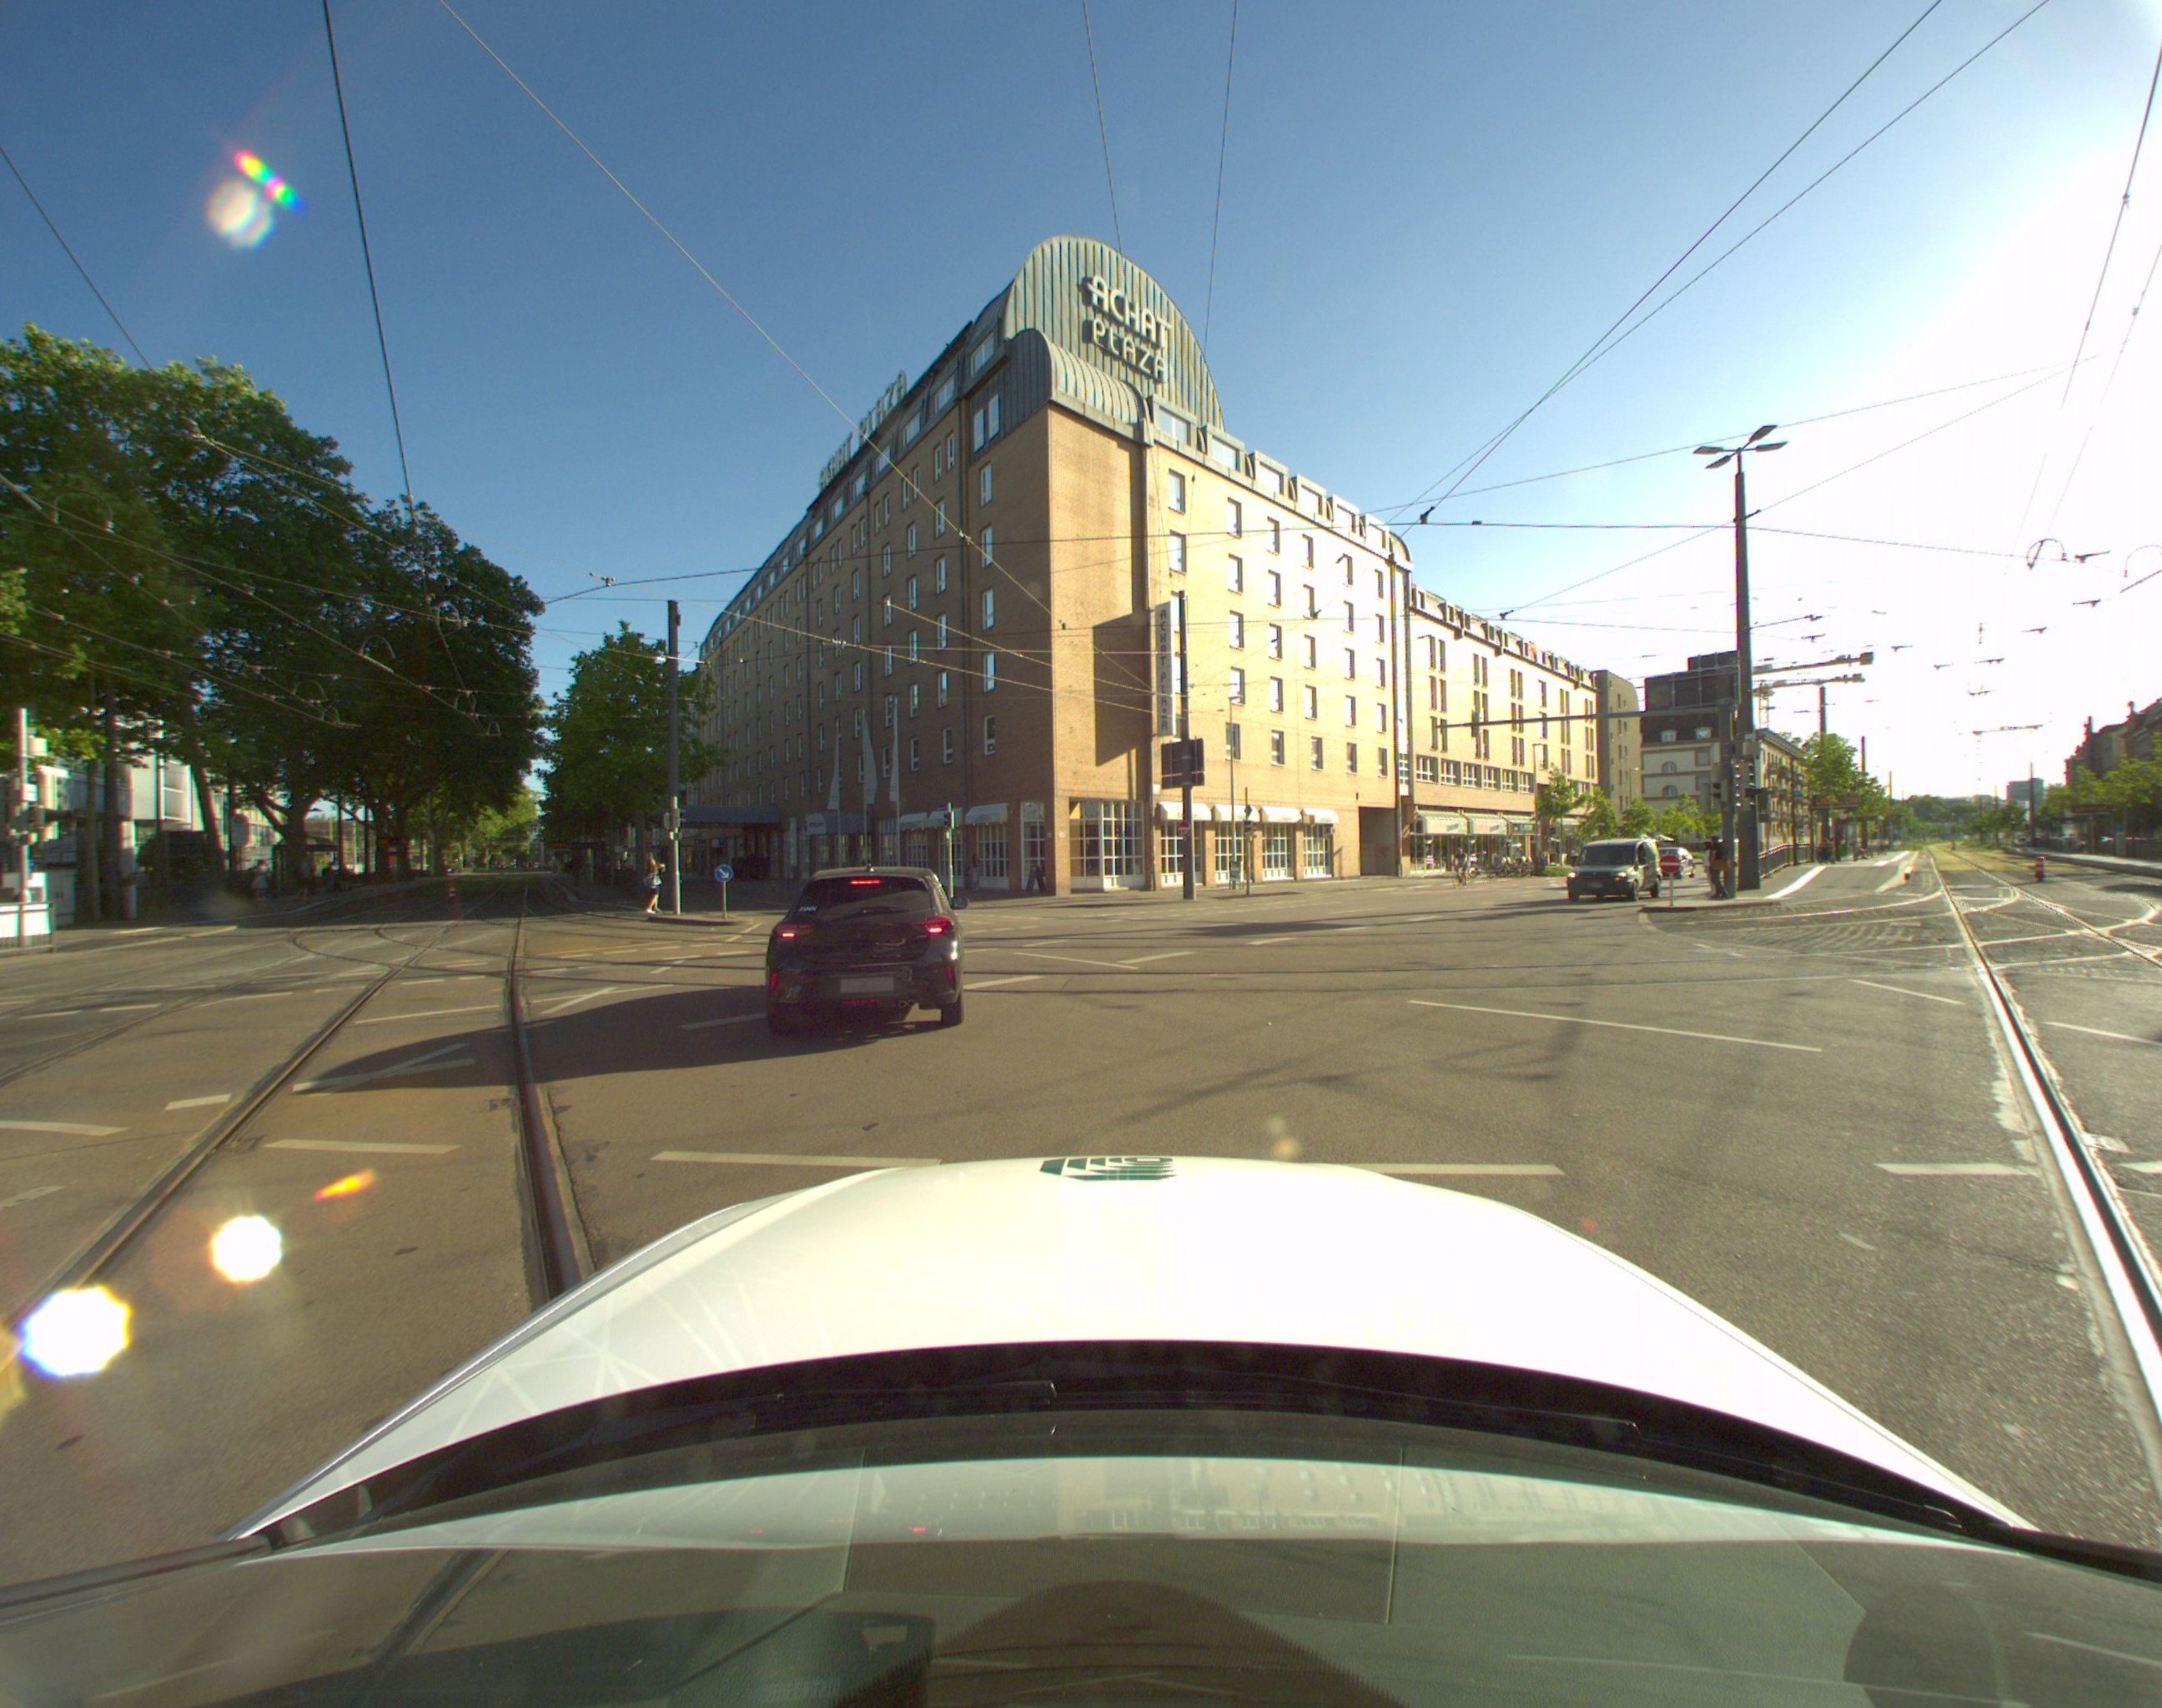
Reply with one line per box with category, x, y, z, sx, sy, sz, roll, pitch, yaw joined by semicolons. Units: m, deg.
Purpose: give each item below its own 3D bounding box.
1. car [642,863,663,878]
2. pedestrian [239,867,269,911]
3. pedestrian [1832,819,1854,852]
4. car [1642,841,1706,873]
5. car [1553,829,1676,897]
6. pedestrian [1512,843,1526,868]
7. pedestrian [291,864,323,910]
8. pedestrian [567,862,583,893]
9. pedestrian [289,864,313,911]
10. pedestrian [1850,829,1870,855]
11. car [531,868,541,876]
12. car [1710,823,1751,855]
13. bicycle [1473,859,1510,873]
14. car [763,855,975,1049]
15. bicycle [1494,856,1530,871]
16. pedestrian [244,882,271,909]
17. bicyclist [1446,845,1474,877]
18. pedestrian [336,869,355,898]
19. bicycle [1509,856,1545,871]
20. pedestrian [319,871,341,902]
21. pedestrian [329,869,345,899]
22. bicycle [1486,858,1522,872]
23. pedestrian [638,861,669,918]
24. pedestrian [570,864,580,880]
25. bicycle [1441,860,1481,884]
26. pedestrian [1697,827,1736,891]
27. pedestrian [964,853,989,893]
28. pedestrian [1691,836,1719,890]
car;-48.173;1.806;91.590;1.684;1.652;3.651;-1;0;-34
pedestrian;-34.589;1.449;34.062;0.592;1.800;0.740;-1;0;-19
pedestrian;45.022;-1.082;48.100;0.852;1.886;0.742;-1;1;37
car;30.062;0.140;41.240;4.323;1.448;1.822;-1;-2;-44
car;15.863;0.249;24.162;4.128;1.836;1.823;-1;-2;-39
pedestrian;32.489;0.107;60.417;0.568;1.764;0.710;-1;-1;-40
pedestrian;-31.511;1.327;33.159;0.589;1.829;0.744;-1;0;-3
pedestrian;-27.514;1.270;44.291;0.608;1.680;0.481;-3;1;-35
pedestrian;-31.063;1.311;32.439;0.639;1.829;0.736;-1;0;-39
pedestrian;51.636;-0.782;53.998;0.852;1.670;0.789;-1;1;37
car;-106.608;3.577;159.312;1.626;1.502;3.650;-1;0;-35
car;66.010;-1.530;82.711;2.355;2.998;8.521;-2;0;44
bicycle;25.266;0.757;50.151;0.484;0.845;2.019;-2;-1;-32
car;-2.076;0.965;8.569;1.672;1.502;3.675;-2;-5;-11
bicycle;27.527;0.616;52.078;0.484;0.921;2.019;-2;-1;-32
pedestrian;-37.082;1.873;36.677;0.592;1.164;0.740;-1;0;-19
bicyclist;17.324;0.319;37.226;0.931;1.377;0.802;-1;-1;-44
pedestrian;-40.782;1.636;45.154;0.566;1.573;0.634;-1;1;-23
bicycle;28.653;0.610;52.365;0.484;0.921;2.019;-2;-1;-32
pedestrian;-39.353;1.695;42.686;0.481;1.573;0.674;0;1;8
pedestrian;-40.644;1.643;44.501;0.504;1.573;0.489;-1;1;-31
bicycle;26.510;0.682;51.061;0.484;0.845;2.019;-2;-1;-32
pedestrian;-13.078;1.074;24.936;0.718;1.680;0.824;-3;1;-26
pedestrian;-48.214;1.730;77.638;0.728;1.444;0.619;-1;0;-38
bicycle;17.408;0.799;37.285;2.523;0.991;0.802;-2;-1;-44
pedestrian;17.335;0.138;22.215;0.598;1.727;0.714;-1;-1;-42
pedestrian;-4.518;0.819;35.114;0.744;1.666;0.745;-2;0;-36
pedestrian;18.428;0.261;24.046;0.575;1.577;0.651;-2;0;34
